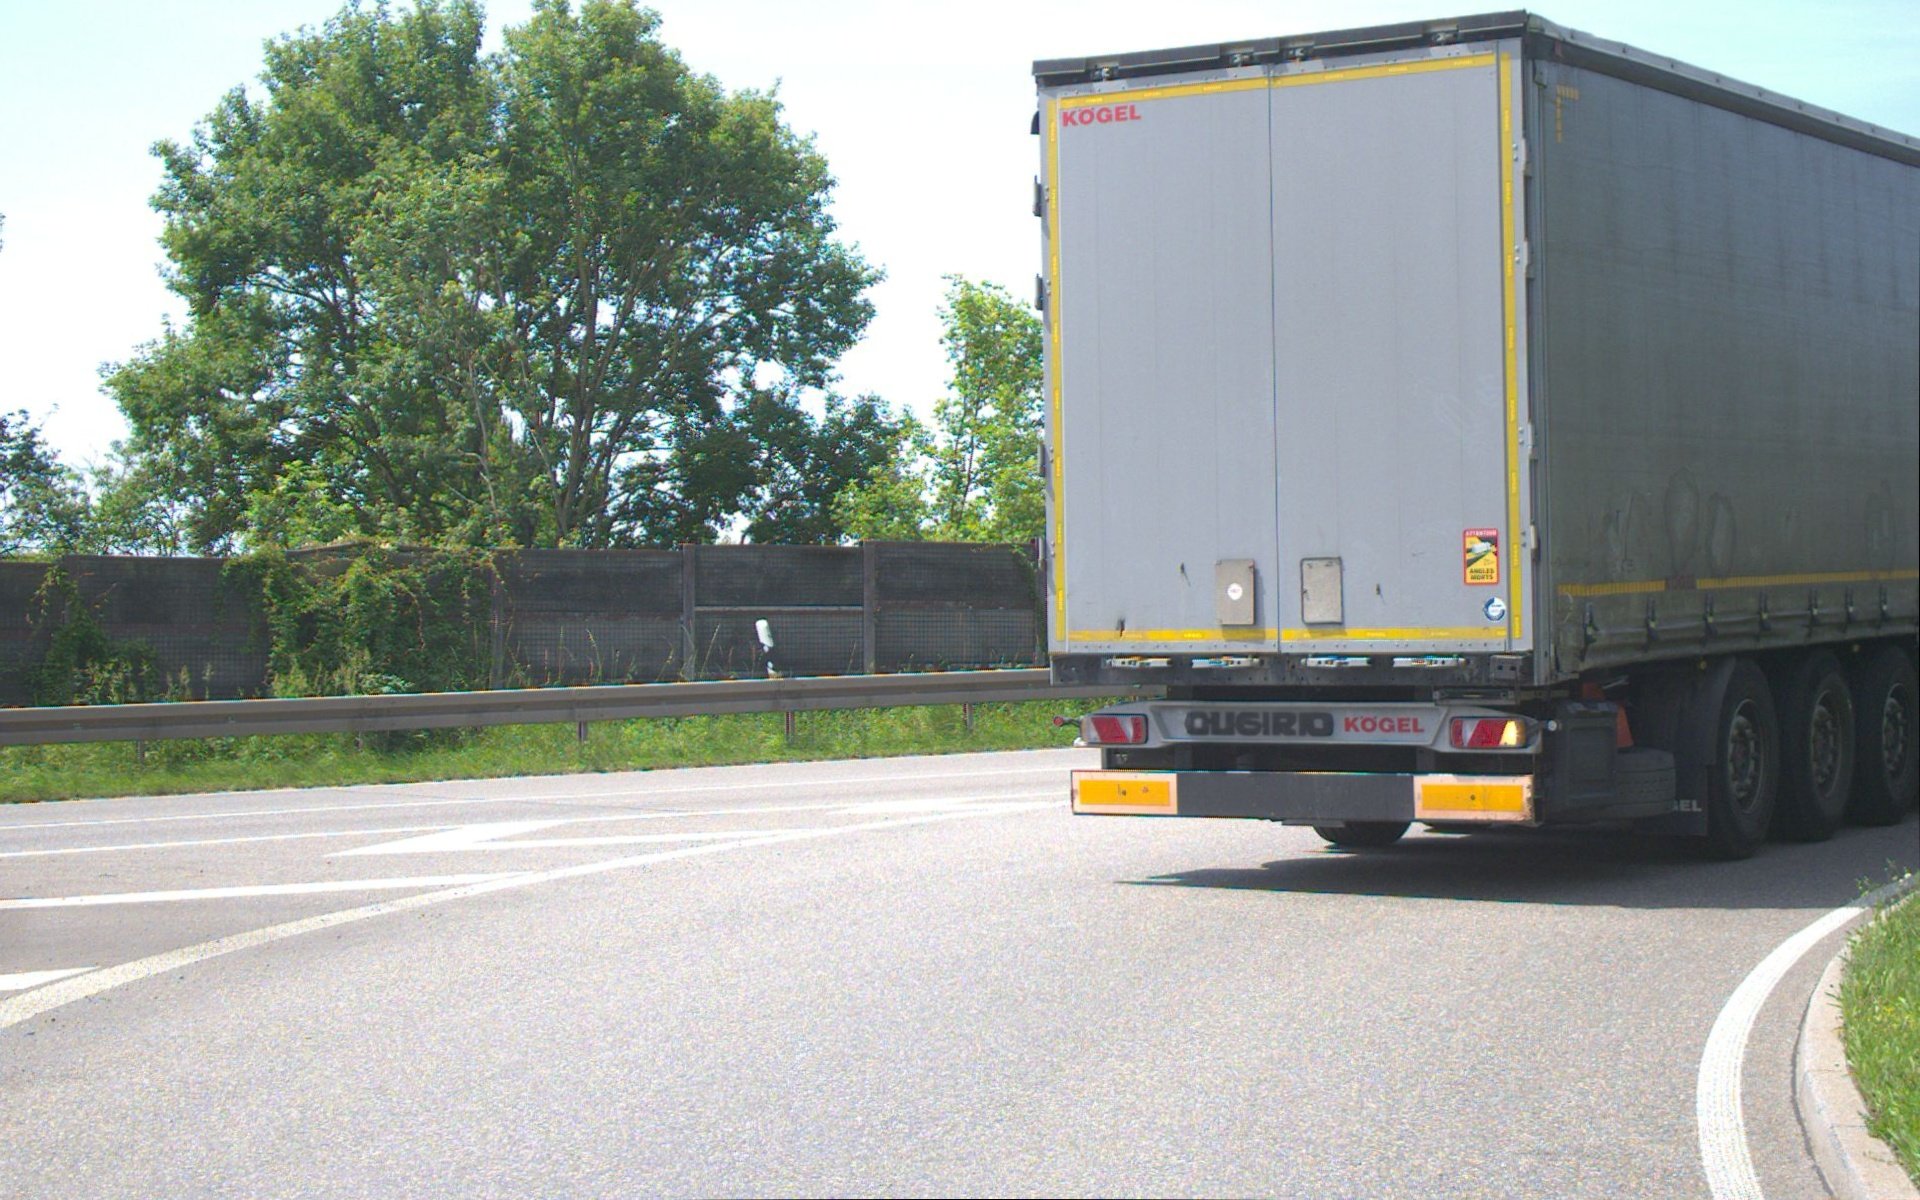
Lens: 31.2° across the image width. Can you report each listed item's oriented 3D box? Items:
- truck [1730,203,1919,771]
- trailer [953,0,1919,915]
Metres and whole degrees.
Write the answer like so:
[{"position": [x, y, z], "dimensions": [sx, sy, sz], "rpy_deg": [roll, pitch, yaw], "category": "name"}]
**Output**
[{"position": [9.566, -0.881, 28.039], "dimensions": [3.161, 4.210, 7.104], "rpy_deg": [0, 1, 44], "category": "truck"}, {"position": [4.726, -0.700, 21.336], "dimensions": [3.032, 4.021, 13.328], "rpy_deg": [0, 0, 31], "category": "trailer"}]
